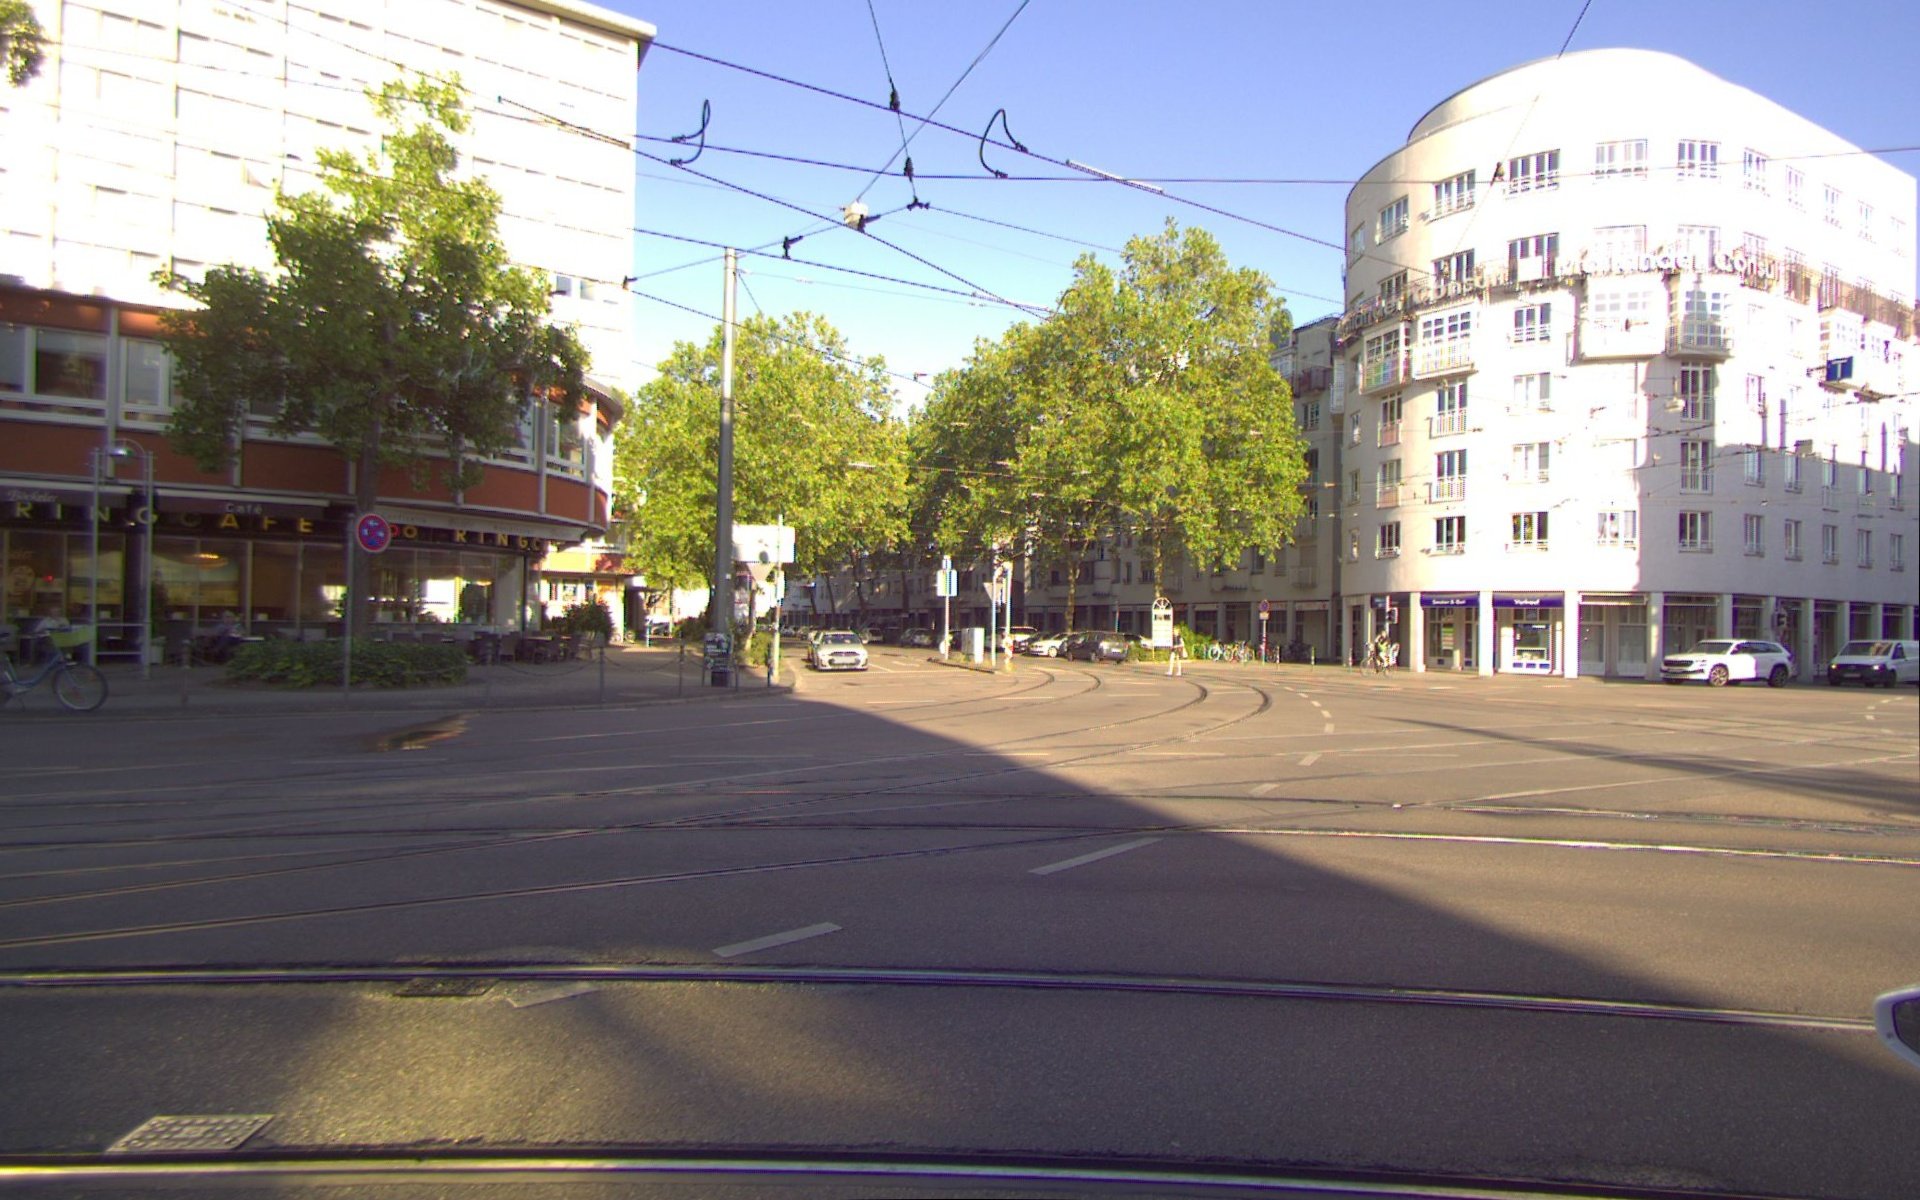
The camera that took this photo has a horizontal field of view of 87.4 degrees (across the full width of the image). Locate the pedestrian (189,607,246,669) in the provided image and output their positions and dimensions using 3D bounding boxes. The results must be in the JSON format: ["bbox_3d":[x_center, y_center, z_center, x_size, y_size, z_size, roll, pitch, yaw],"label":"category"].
[{"bbox_3d":[-17.397,0.891,23.550,0.879,1.414,0.931,1,-1,-26],"label":"pedestrian"}]

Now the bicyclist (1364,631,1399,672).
[{"bbox_3d":[15.984,1.948,38.075,0.884,1.486,0.839,1,-1,-24],"label":"bicyclist"}]

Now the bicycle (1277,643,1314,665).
[{"bbox_3d":[18.438,2.952,55.224,0.808,1.122,1.936,1,-1,-24],"label":"bicycle"}]

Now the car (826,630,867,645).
[{"bbox_3d":[-12.033,4.013,106.622,3.952,1.530,1.786,2,-2,-30],"label":"car"}]

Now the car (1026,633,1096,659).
[{"bbox_3d":[6.205,2.825,61.763,3.952,1.530,1.786,2,-2,-30],"label":"car"}]

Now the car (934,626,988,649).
[{"bbox_3d":[0.061,3.007,80.393,3.952,1.738,1.786,2,-2,-30],"label":"car"}]

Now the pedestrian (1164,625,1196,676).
[{"bbox_3d":[7.535,1.706,34.371,0.686,1.704,0.867,-1,-1,-19],"label":"pedestrian"}]

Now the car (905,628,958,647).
[{"bbox_3d":[-2.343,3.072,81.992,3.946,1.530,1.789,1,-2,-26],"label":"car"}]

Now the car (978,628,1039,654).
[{"bbox_3d":[3.439,2.868,70.878,3.952,1.738,1.786,2,-2,-30],"label":"car"}]

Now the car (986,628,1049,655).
[{"bbox_3d":[3.967,2.856,68.707,3.952,1.738,1.786,2,-2,-30],"label":"car"}]

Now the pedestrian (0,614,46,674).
[{"bbox_3d":[-20.642,0.942,21.762,0.891,1.279,0.838,1,-1,-12],"label":"pedestrian"}]

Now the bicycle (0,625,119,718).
[{"bbox_3d":[-13.071,0.988,14.094,1.830,1.251,0.579,2,0,-23],"label":"bicycle"}]

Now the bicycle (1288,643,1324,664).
[{"bbox_3d":[19.162,2.972,55.691,0.808,1.122,1.936,1,-1,-24],"label":"bicycle"}]

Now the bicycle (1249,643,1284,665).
[{"bbox_3d":[16.518,2.902,54.169,0.807,1.122,1.938,1,-1,-22],"label":"bicycle"}]

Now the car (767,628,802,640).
[{"bbox_3d":[-22.496,4.354,128.684,3.952,1.530,1.786,2,-2,-30],"label":"car"}]

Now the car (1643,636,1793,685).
[{"bbox_3d":[27.019,2.159,35.829,4.435,1.641,1.994,1,-2,-15],"label":"car"}]

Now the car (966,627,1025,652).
[{"bbox_3d":[2.634,2.932,73.665,3.952,1.738,1.786,2,-2,-30],"label":"car"}]

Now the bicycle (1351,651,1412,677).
[{"bbox_3d":[15.965,2.428,38.060,2.233,0.939,0.838,2,-1,-24],"label":"bicycle"}]

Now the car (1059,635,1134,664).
[{"bbox_3d":[7.030,2.533,52.145,1.864,1.440,4.431,1,-2,-23],"label":"car"}]

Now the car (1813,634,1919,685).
[{"bbox_3d":[36.274,2.342,39.863,5.281,1.862,1.985,2,-2,-29],"label":"car"}]

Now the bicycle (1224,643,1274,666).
[{"bbox_3d":[15.260,2.849,53.050,0.931,1.122,2.415,2,-2,-41],"label":"bicycle"}]

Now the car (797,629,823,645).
[{"bbox_3d":[-15.462,3.797,103.394,1.774,1.530,3.980,2,-2,-22],"label":"car"}]

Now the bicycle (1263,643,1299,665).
[{"bbox_3d":[17.414,2.924,54.556,0.807,1.122,1.938,1,-1,-22],"label":"bicycle"}]

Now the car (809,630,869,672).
[{"bbox_3d":[-4.535,1.847,37.220,1.857,1.439,4.448,2,-2,-11],"label":"car"}]
